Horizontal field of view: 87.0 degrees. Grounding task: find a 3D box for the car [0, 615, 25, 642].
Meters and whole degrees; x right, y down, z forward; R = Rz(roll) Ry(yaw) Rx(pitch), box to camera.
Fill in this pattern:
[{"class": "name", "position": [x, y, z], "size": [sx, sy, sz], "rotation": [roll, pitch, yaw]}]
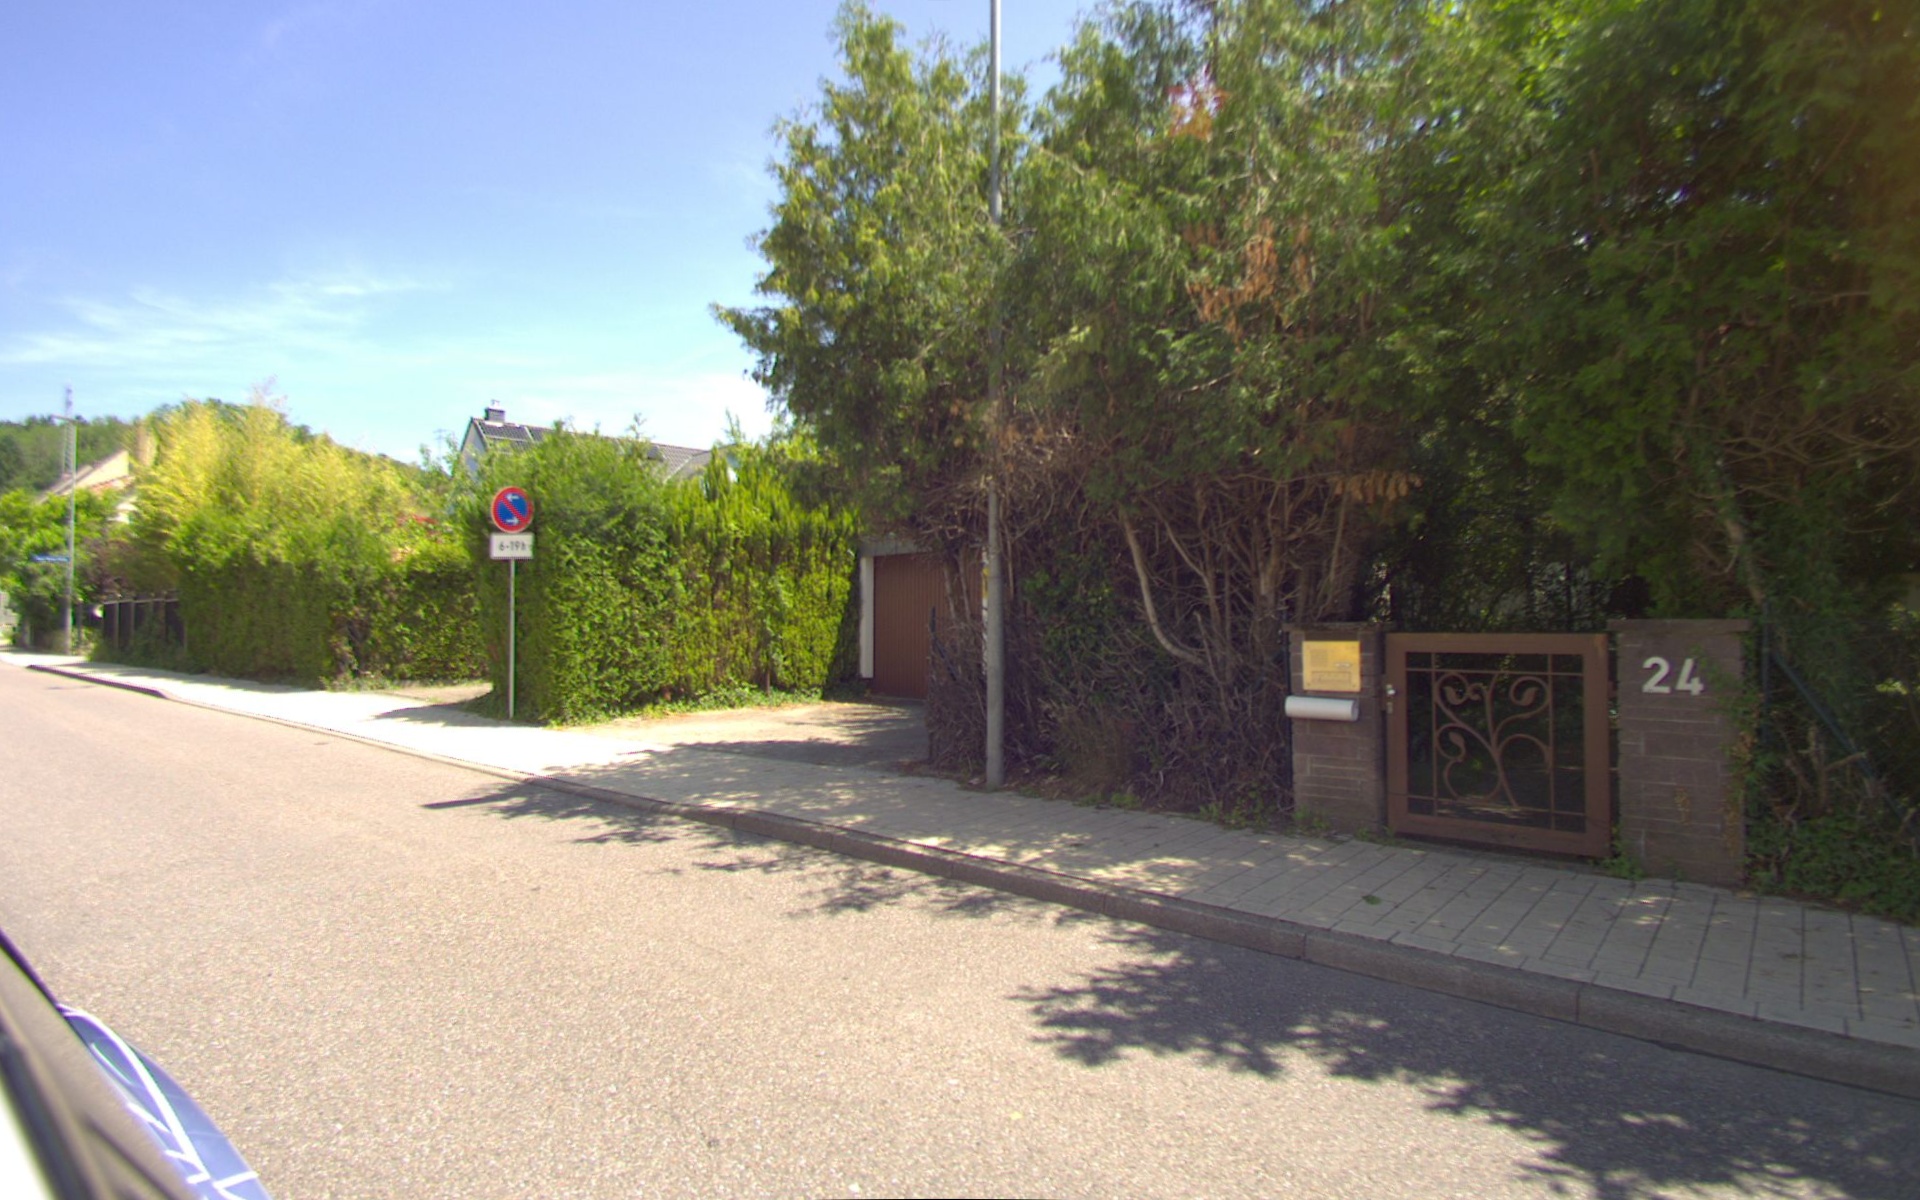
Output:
[{"class": "car", "position": [-57.637, 1.662, 59.249], "size": [3.985, 1.511, 1.708], "rotation": [0, 0, -11]}]
